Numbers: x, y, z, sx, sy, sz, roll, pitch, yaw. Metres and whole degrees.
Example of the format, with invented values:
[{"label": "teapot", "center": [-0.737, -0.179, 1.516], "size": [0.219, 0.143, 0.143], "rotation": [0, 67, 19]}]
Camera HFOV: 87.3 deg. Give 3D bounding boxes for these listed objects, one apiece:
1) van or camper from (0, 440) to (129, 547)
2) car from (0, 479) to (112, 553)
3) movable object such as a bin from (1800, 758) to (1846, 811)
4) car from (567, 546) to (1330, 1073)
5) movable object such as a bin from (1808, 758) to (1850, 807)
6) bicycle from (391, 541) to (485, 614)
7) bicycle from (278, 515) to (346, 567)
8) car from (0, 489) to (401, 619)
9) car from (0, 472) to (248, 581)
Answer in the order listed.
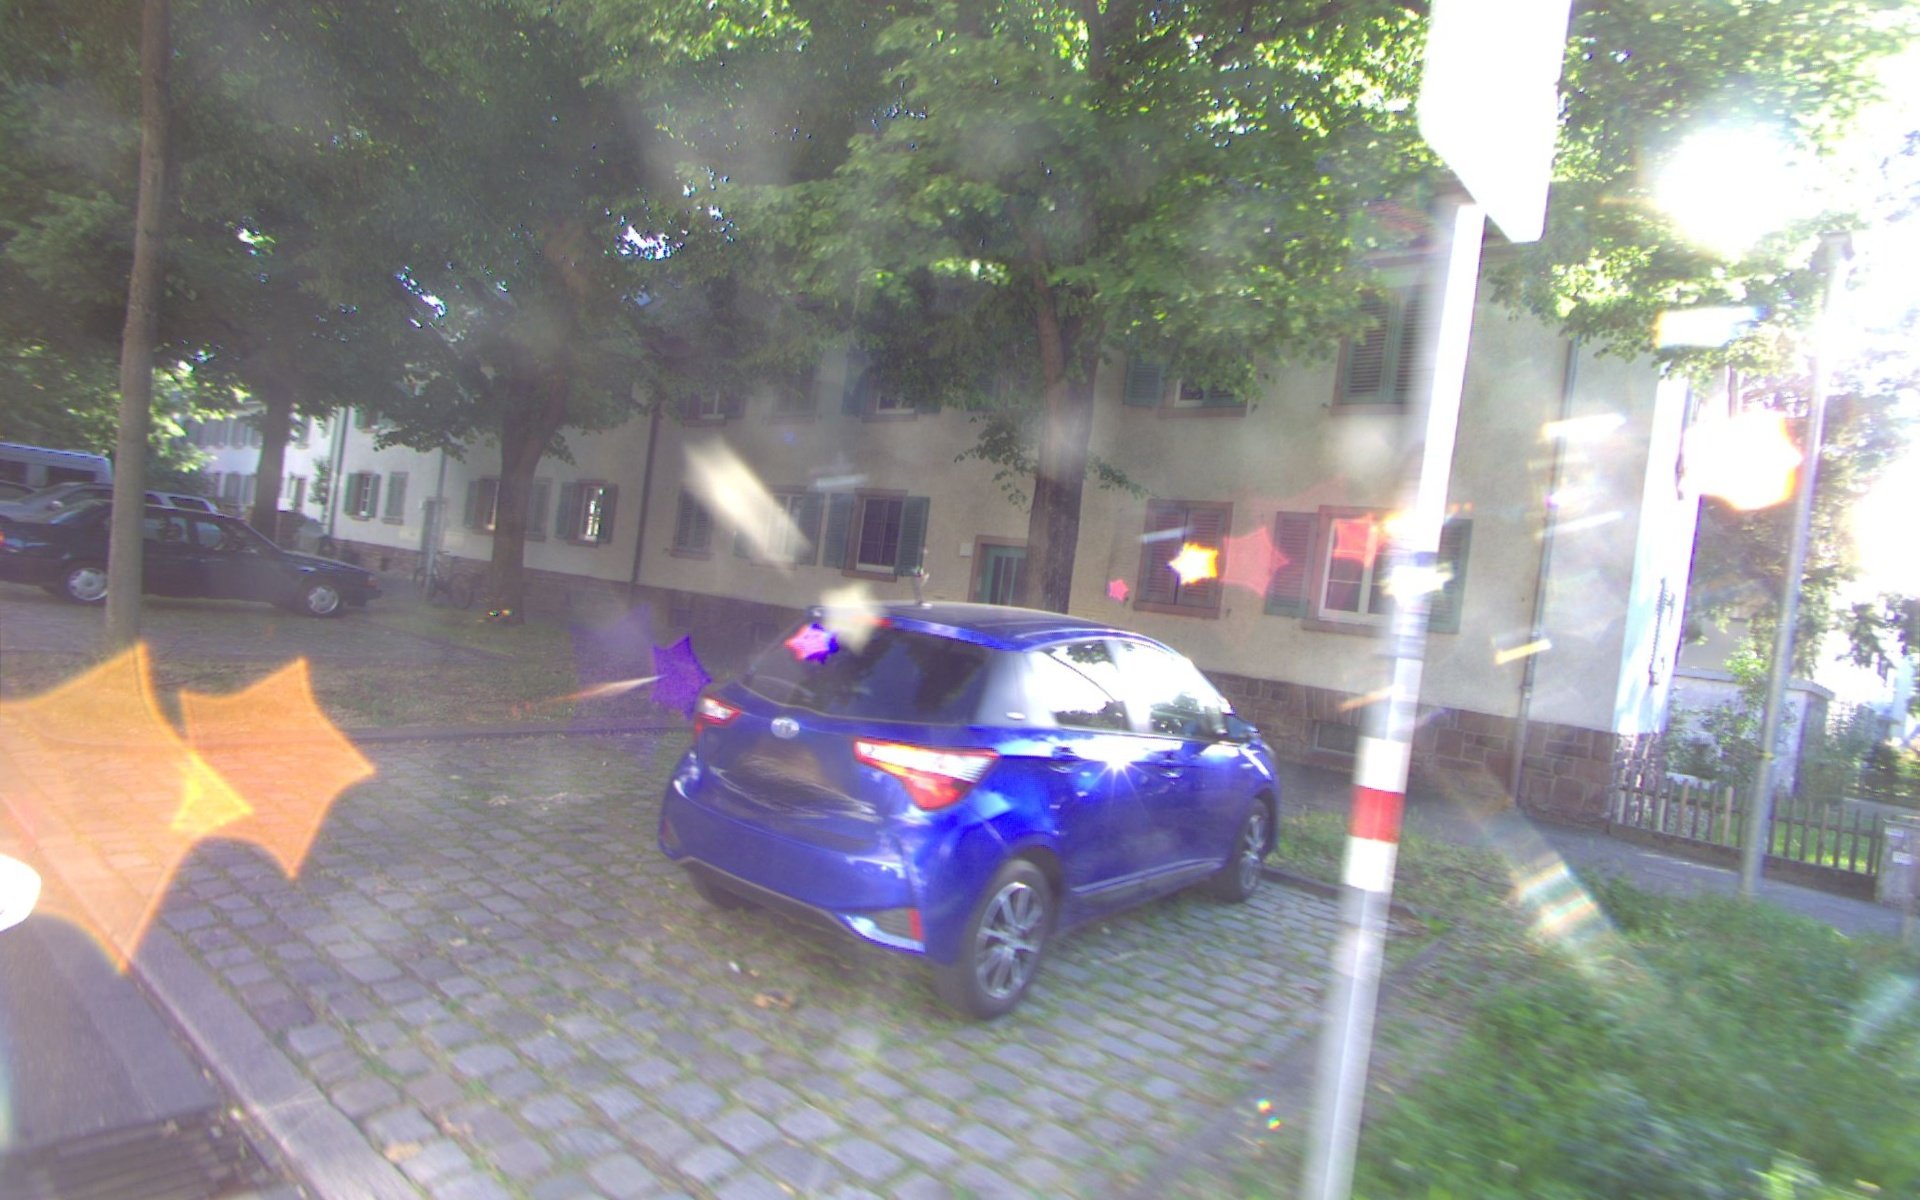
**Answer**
[{"label": "van or camper", "center": [-26.217, -3.001, 27.003], "size": [2.234, 2.569, 5.569], "rotation": [6, 1, 36]}, {"label": "car", "center": [-22.525, -2.068, 23.748], "size": [1.725, 1.491, 3.498], "rotation": [6, 0, 37]}, {"label": "movable object such as a bin", "center": [19.872, 4.236, 23.154], "size": [0.641, 1.043, 0.637], "rotation": [7, 2, -45]}, {"label": "car", "center": [0.318, 0.754, 5.373], "size": [1.969, 1.575, 3.985], "rotation": [6, 0, 36]}, {"label": "movable object such as a bin", "center": [21.102, 4.429, 24.431], "size": [0.591, 1.043, 0.608], "rotation": [7, 2, -45]}, {"label": "bicycle", "center": [-10.285, -0.450, 19.805], "size": [1.902, 1.177, 0.629], "rotation": [8, 1, 31]}, {"label": "bicycle", "center": [-20.664, -1.878, 32.070], "size": [1.969, 1.417, 0.801], "rotation": [7, 1, 26]}, {"label": "car", "center": [-11.329, -0.614, 14.940], "size": [1.913, 1.460, 4.890], "rotation": [6, 1, 36]}, {"label": "car", "center": [-16.880, -1.435, 19.619], "size": [1.912, 1.692, 4.471], "rotation": [9, 3, 36]}]
